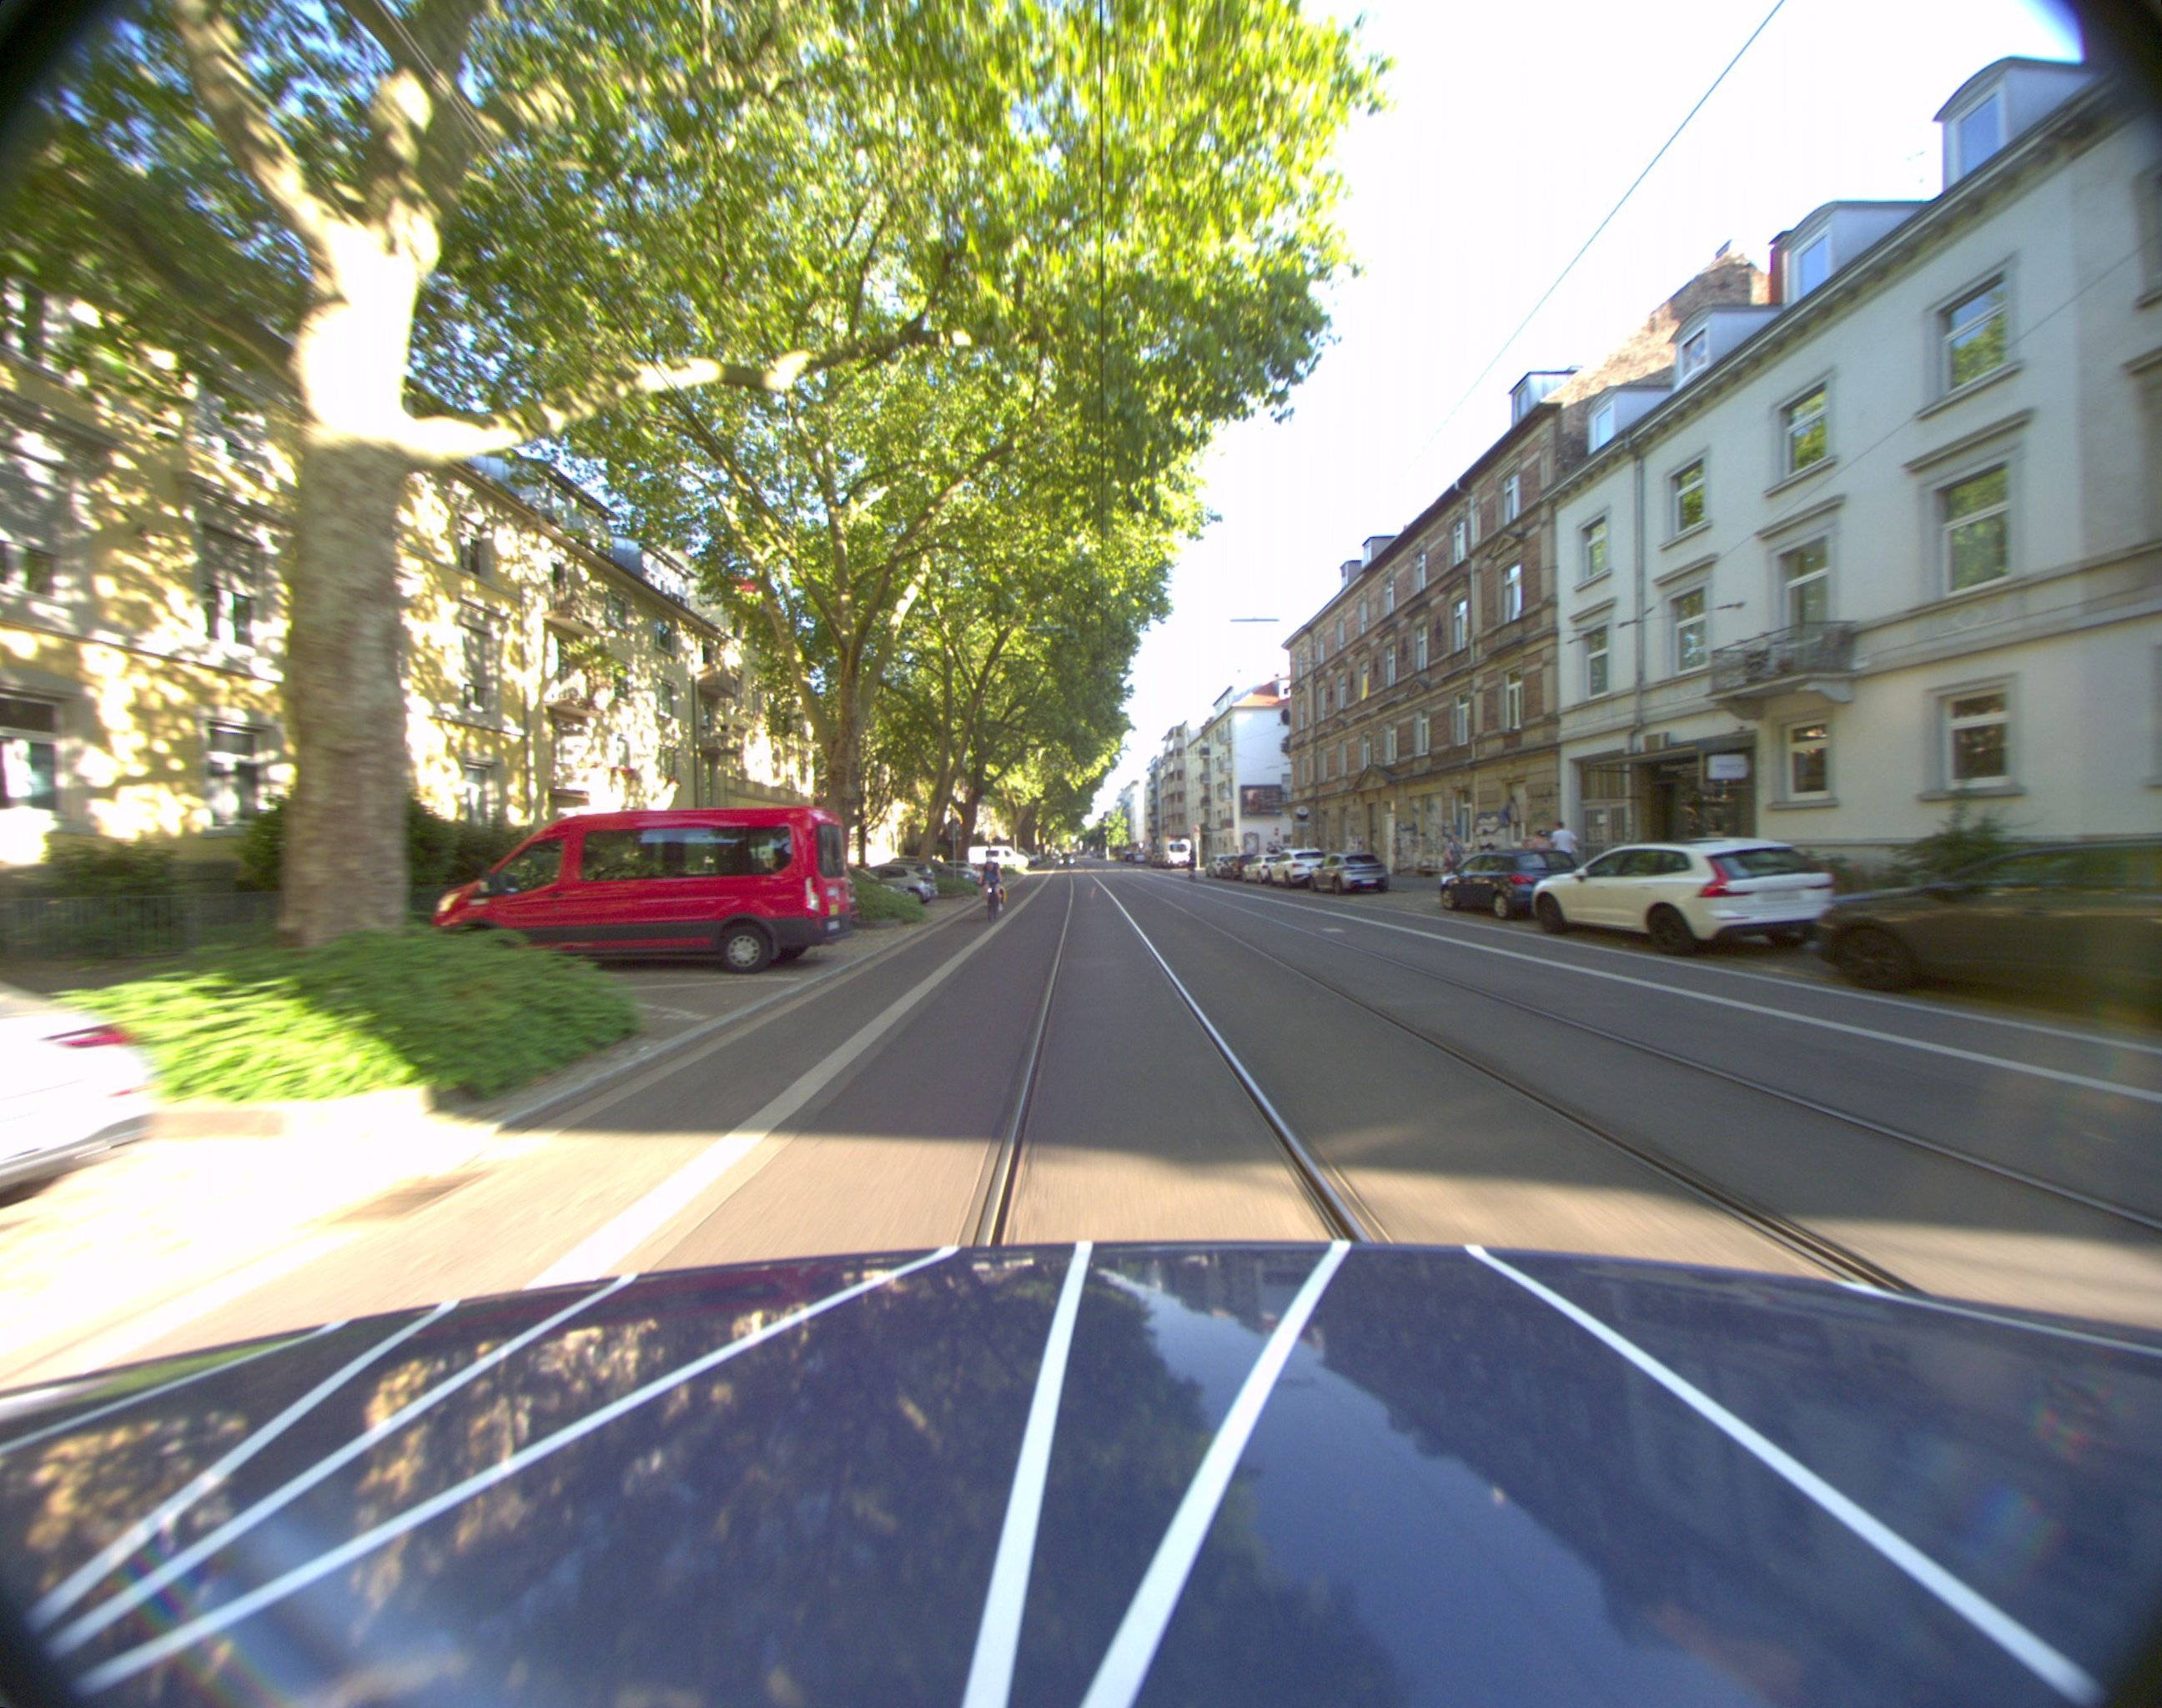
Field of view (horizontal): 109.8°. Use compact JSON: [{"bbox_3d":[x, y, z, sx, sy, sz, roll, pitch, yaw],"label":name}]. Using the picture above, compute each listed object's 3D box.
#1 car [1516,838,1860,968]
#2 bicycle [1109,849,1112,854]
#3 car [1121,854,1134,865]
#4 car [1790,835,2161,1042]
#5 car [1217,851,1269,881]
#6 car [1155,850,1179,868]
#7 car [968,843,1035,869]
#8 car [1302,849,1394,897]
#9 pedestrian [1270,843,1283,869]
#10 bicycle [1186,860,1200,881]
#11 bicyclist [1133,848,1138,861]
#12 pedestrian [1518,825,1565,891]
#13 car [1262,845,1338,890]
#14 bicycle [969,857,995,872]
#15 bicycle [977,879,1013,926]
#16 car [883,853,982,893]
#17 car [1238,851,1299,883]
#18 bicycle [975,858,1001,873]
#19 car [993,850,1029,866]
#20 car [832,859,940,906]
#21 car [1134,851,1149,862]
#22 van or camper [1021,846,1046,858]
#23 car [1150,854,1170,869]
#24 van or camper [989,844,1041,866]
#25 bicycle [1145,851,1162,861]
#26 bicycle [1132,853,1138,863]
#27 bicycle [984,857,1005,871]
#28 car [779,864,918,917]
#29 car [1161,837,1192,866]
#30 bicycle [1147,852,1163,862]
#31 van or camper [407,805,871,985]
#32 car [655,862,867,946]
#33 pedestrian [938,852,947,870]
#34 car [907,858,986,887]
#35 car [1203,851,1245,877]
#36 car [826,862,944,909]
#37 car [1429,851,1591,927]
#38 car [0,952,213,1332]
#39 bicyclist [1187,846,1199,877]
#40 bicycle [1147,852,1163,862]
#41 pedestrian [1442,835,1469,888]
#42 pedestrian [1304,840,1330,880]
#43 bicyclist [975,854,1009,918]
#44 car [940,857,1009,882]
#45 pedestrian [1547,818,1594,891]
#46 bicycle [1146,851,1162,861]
[{"bbox_3d":[9.443,0.640,12.489,1.861,1.694,4.762,-1,0,0],"label":"car"},{"bbox_3d":[5.429,-0.450,139.615,0.418,1.012,1.946,0,1,-1],"label":"bicycle"},{"bbox_3d":[7.334,0.888,120.265,1.660,1.591,4.201,-3,1,-2],"label":"car"},{"bbox_3d":[9.758,0.685,6.985,1.862,1.694,4.656,-1,0,-6],"label":"car"},{"bbox_3d":[9.168,0.640,43.345,1.745,1.553,4.785,-3,1,-2],"label":"car"},{"bbox_3d":[8.387,0.433,74.418,1.723,1.622,4.345,-2,1,-2],"label":"car"},{"bbox_3d":[-7.475,0.211,71.941,6.006,2.269,2.006,-1,0,1],"label":"car"},{"bbox_3d":[9.489,0.608,27.371,1.667,1.512,4.063,-3,1,-3],"label":"car"},{"bbox_3d":[13.332,0.123,51.831,0.658,1.738,0.893,-3,-1,3],"label":"pedestrian"},{"bbox_3d":[5.995,0.867,40.768,0.482,1.079,1.846,-1,1,0],"label":"bicycle"},{"bbox_3d":[6.396,0.053,89.392,0.584,1.473,0.807,-1,1,-1],"label":"bicyclist"},{"bbox_3d":[12.933,0.104,21.358,0.762,1.810,0.829,-2,1,-4],"label":"pedestrian"},{"bbox_3d":[9.347,0.521,32.847,1.791,1.713,4.717,-3,1,-1],"label":"car"},{"bbox_3d":[-8.267,0.895,63.556,2.046,1.172,0.413,-2,2,8],"label":"bicycle"},{"bbox_3d":[-2.211,1.230,19.814,0.596,0.998,2.510,-4,1,-1],"label":"bicycle"},{"bbox_3d":[-6.830,0.864,35.362,4.274,1.709,1.848,1,1,-3],"label":"car"},{"bbox_3d":[9.286,0.619,37.991,1.704,1.412,3.998,-3,1,-5],"label":"car"},{"bbox_3d":[-7.730,0.961,63.005,2.046,1.172,0.413,-2,2,8],"label":"bicycle"},{"bbox_3d":[-7.717,0.453,84.161,3.966,1.646,1.795,-1,1,-4],"label":"car"},{"bbox_3d":[-7.271,1.037,28.566,3.604,1.590,1.540,-1,1,0],"label":"car"},{"bbox_3d":[8.318,0.327,104.499,1.694,1.482,4.727,-1,1,0],"label":"car"},{"bbox_3d":[-8.609,-0.416,137.246,4.389,2.098,1.837,-1,1,-5],"label":"van or camper"},{"bbox_3d":[8.301,0.786,80.097,1.722,1.448,4.571,-2,1,1],"label":"car"},{"bbox_3d":[-7.820,0.111,90.431,6.049,2.476,2.107,-1,1,-2],"label":"van or camper"},{"bbox_3d":[8.812,0.288,92.028,1.935,1.113,0.440,-3,1,6],"label":"bicycle"},{"bbox_3d":[6.382,0.490,89.457,0.422,1.144,2.231,-1,1,-2],"label":"bicycle"},{"bbox_3d":[-7.572,0.900,66.510,2.043,1.172,0.414,-1,2,36],"label":"bicycle"},{"bbox_3d":[-6.966,1.077,22.992,3.680,1.514,1.694,0,-1,-1],"label":"car"},{"bbox_3d":[8.639,-0.231,69.106,2.070,2.521,5.666,-2,1,1],"label":"car"},{"bbox_3d":[8.744,0.315,89.815,1.793,1.113,0.425,-3,1,6],"label":"bicycle"},{"bbox_3d":[-6.501,0.594,11.840,5.831,2.504,2.287,0,0,-3],"label":"van or camper"},{"bbox_3d":[-6.784,1.030,16.460,3.829,1.640,1.766,0,2,-3],"label":"car"},{"bbox_3d":[-12.880,0.677,70.543,0.594,1.642,0.707,-3,2,-26],"label":"pedestrian"},{"bbox_3d":[-7.181,0.978,40.813,4.040,1.471,1.680,-1,1,-6],"label":"car"},{"bbox_3d":[9.091,0.604,48.607,1.745,1.483,4.044,-3,1,-2],"label":"car"},{"bbox_3d":[-6.643,1.056,26.049,3.604,1.509,1.693,0,1,-1],"label":"car"},{"bbox_3d":[9.564,0.699,17.309,1.558,1.506,3.924,-1,0,2],"label":"car"},{"bbox_3d":[-6.424,1.188,2.872,4.296,1.409,1.760,0,0,1],"label":"car"},{"bbox_3d":[5.988,0.395,40.709,0.474,1.626,0.800,-1,1,0],"label":"bicyclist"},{"bbox_3d":[8.781,0.308,90.316,1.822,1.113,0.425,-3,1,6],"label":"bicycle"},{"bbox_3d":[12.159,0.244,24.685,0.663,1.656,0.770,-2,1,31],"label":"pedestrian"},{"bbox_3d":[11.038,0.277,35.545,0.686,1.790,1.056,-3,1,-10],"label":"pedestrian"},{"bbox_3d":[-2.290,0.797,19.568,0.616,1.543,0.935,-6,1,-1],"label":"bicyclist"},{"bbox_3d":[-7.036,1.010,50.312,4.104,1.483,1.832,-1,1,8],"label":"car"},{"bbox_3d":[13.766,0.007,21.385,0.761,2.002,0.830,-2,1,-3],"label":"pedestrian"},{"bbox_3d":[8.799,0.294,91.489,1.965,1.113,0.440,-3,1,6],"label":"bicycle"}]
